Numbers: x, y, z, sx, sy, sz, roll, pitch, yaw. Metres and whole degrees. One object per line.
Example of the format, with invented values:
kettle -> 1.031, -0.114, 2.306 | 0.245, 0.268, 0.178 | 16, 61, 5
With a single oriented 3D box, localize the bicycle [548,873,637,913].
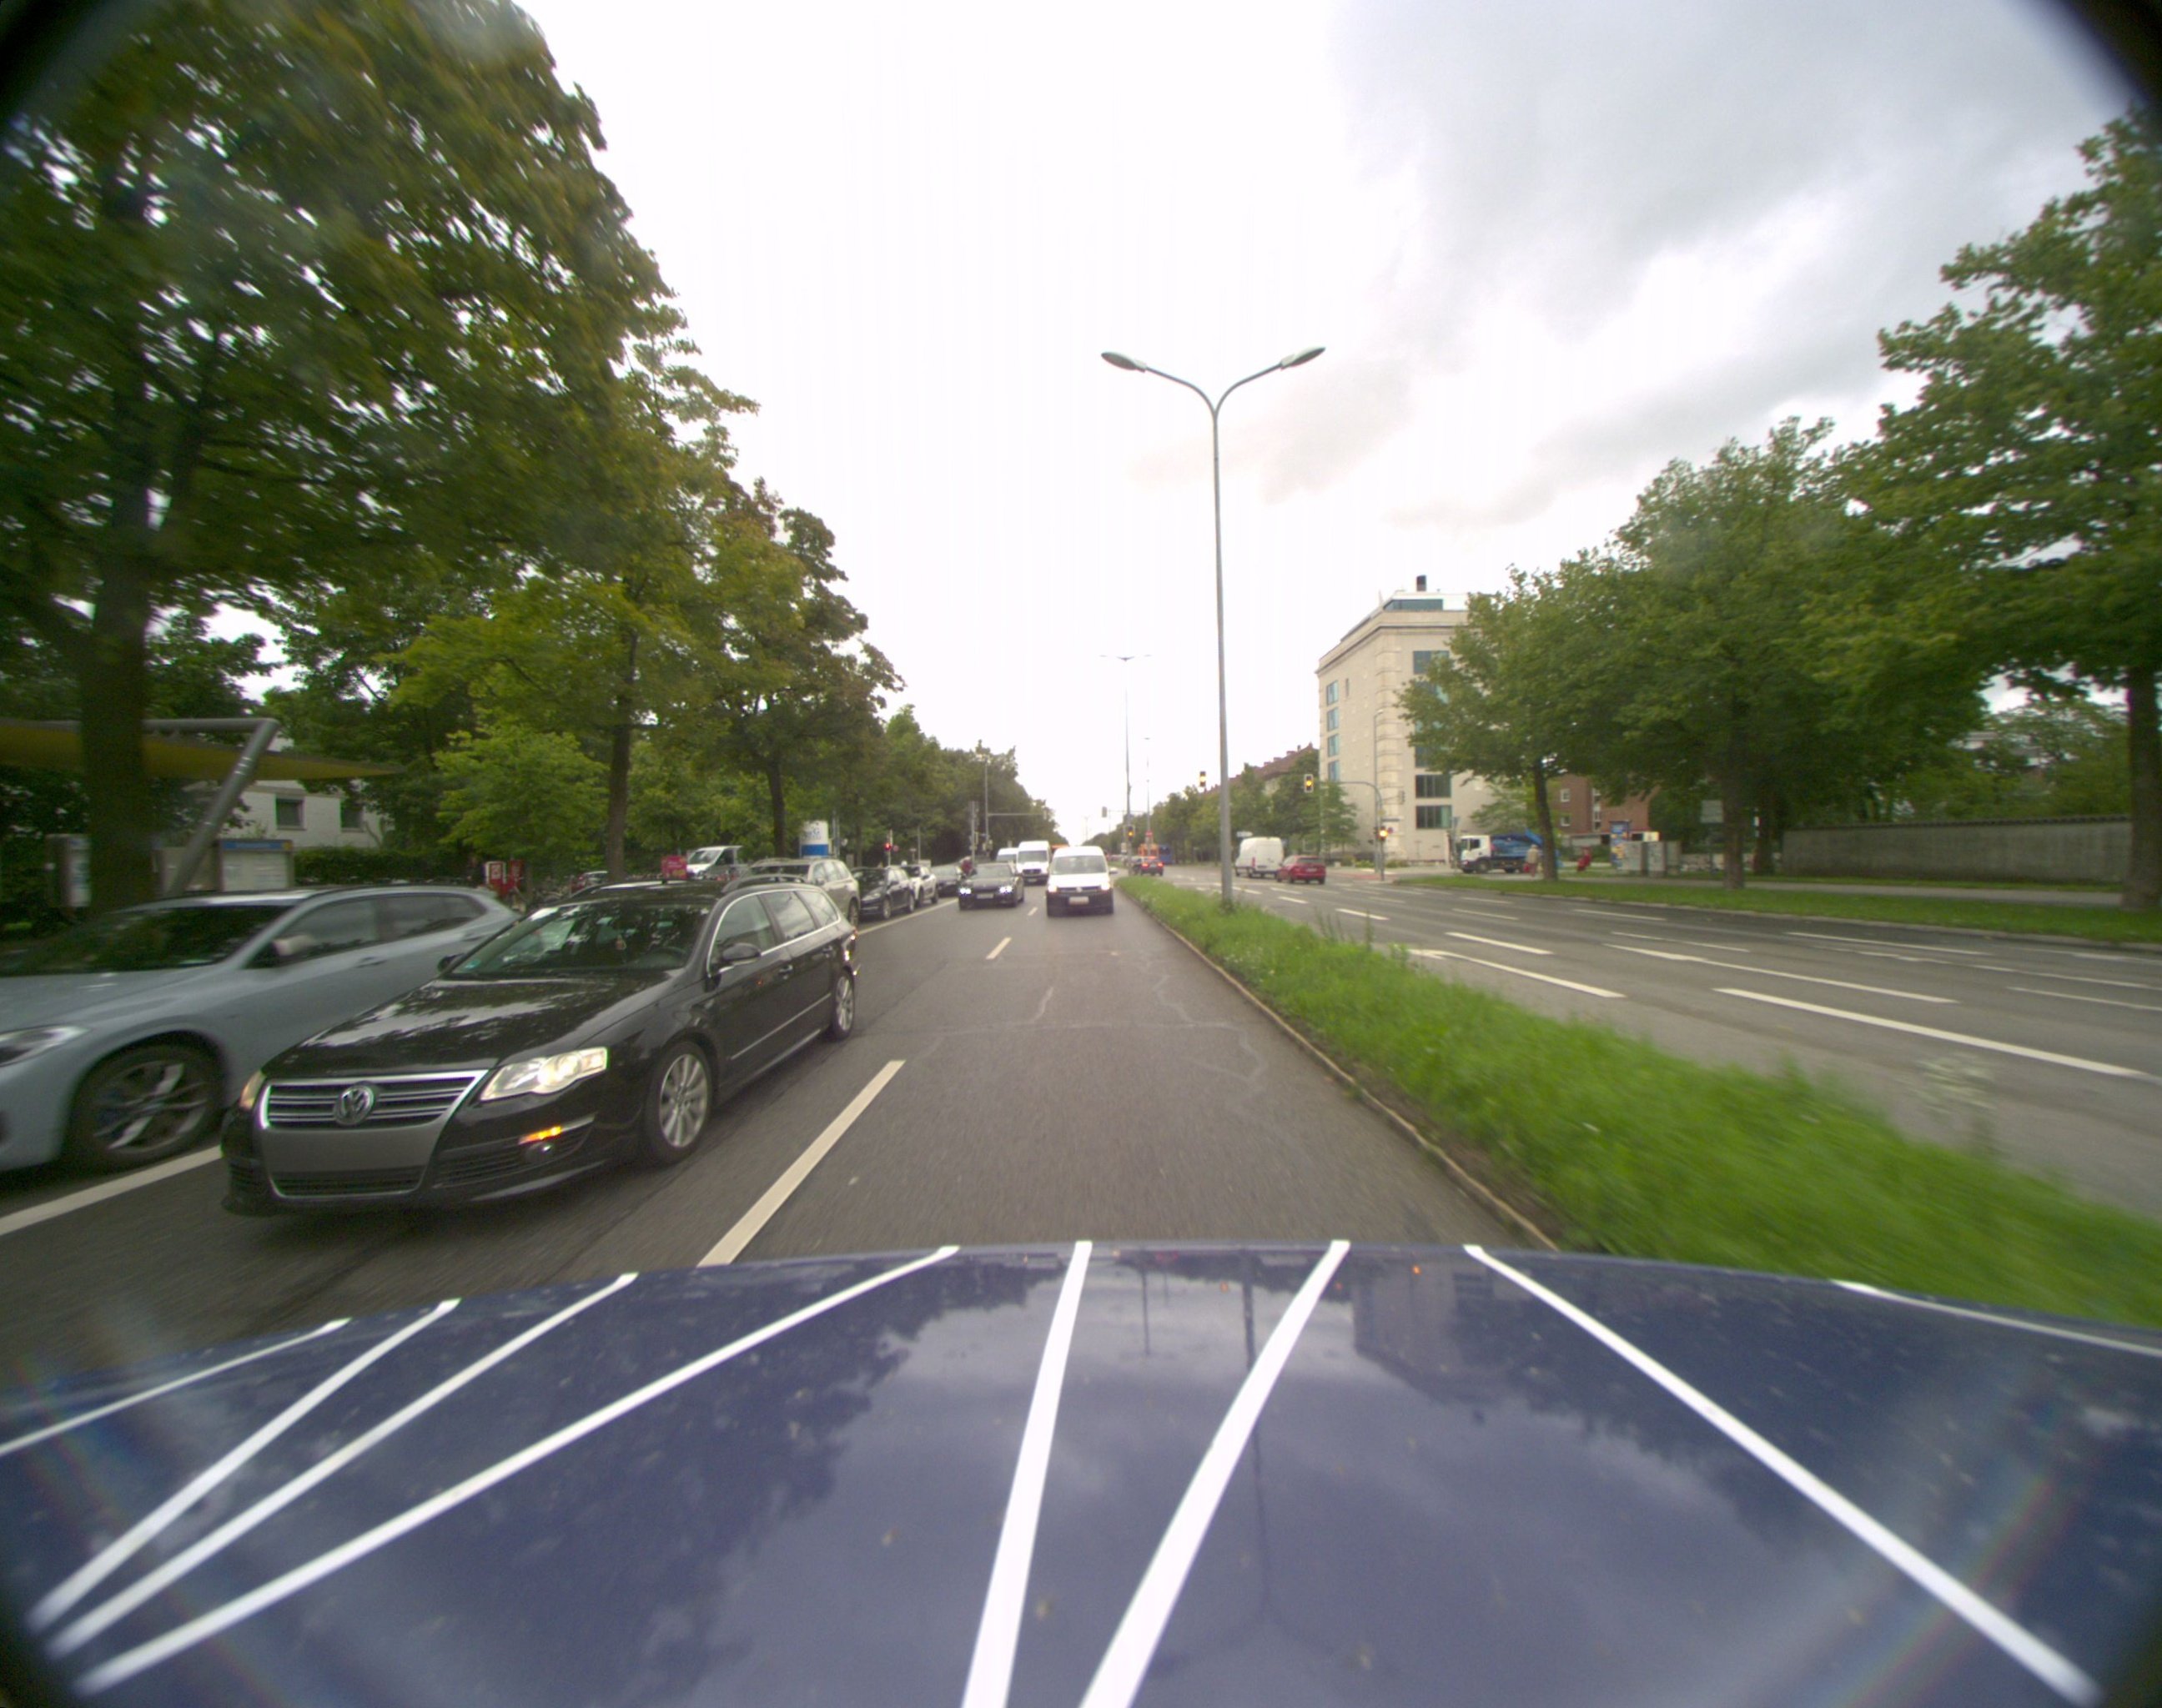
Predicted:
bicycle -> -14.723, 1.178, 22.935 | 2.344, 1.151, 0.529 | 1, 0, 0

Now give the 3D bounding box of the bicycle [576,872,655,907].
bicycle -> -16.109, 1.228, 26.306 | 2.344, 1.151, 0.585 | 1, 0, 0

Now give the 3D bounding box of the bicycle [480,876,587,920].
bicycle -> -14.701, 1.177, 20.439 | 2.346, 1.151, 0.529 | 1, 0, -8

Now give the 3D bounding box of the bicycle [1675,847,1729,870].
bicycle -> 33.715, 0.223, 41.289 | 0.837, 1.179, 2.496 | -1, 0, -1

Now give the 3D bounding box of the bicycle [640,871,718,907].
bicycle -> -13.700, 1.182, 25.907 | 2.344, 1.151, 0.585 | 1, 0, 0

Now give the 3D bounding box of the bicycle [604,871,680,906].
bicycle -> -15.565, 1.219, 26.953 | 2.344, 1.151, 0.585 | 1, 0, 0

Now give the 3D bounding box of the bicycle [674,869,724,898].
bicycle -> -15.800, 1.217, 31.449 | 1.810, 1.136, 0.567 | 0, 1, 6

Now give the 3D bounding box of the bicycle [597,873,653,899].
bicycle -> -21.778, 1.512, 36.340 | 0.716, 1.147, 2.133 | -1, 1, 41

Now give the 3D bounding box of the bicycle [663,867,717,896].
bicycle -> -16.616, 1.160, 32.326 | 1.946, 1.205, 0.567 | 0, 1, -11

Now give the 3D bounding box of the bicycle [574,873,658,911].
bicycle -> -14.693, 1.203, 24.036 | 2.344, 1.151, 0.529 | 1, 0, 0

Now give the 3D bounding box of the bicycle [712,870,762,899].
bicycle -> -13.864, 1.229, 30.611 | 1.809, 1.136, 0.568 | 0, 1, 9

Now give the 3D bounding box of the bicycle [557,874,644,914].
bicycle -> -14.839, 1.230, 23.486 | 2.344, 1.151, 0.529 | 1, 0, 0

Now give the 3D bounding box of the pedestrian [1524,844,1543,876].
pedestrian -> 24.867, 0.320, 41.737 | 0.709, 1.730, 0.517 | -1, 1, -4

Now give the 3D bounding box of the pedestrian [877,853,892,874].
pedestrian -> -14.470, 0.687, 55.953 | 0.691, 1.529, 0.738 | -1, 1, 20

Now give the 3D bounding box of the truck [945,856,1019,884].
truck -> -7.887, 1.272, 61.015 | 2.100, 2.002, 5.824 | -1, 1, 43

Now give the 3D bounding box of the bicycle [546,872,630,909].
bicycle -> -15.954, 1.181, 24.619 | 2.344, 1.151, 0.585 | 1, 0, 0

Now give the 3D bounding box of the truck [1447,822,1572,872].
truck -> 32.243, -0.530, 57.439 | 7.816, 3.468, 2.772 | -1, 1, 2

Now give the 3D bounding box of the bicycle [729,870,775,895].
bicycle -> -14.672, 1.271, 33.908 | 1.812, 1.065, 0.567 | 0, 1, -11

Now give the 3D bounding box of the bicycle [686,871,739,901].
bicycle -> -14.351, 1.246, 29.594 | 1.810, 1.136, 0.567 | 0, 1, 6

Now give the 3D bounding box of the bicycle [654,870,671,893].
bicycle -> -23.555, 1.538, 42.781 | 0.704, 1.243, 2.110 | -2, 0, -26

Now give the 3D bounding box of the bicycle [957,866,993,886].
bicycle -> -6.177, 1.257, 44.310 | 1.951, 1.075, 0.746 | -2, 1, -35

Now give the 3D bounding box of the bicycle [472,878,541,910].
bicycle -> -23.010, 1.583, 30.461 | 2.133, 1.147, 0.716 | -2, 1, -43

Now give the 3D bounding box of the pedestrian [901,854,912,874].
pedestrian -> -14.966, 0.845, 65.125 | 0.762, 1.693, 0.938 | -2, 1, -9

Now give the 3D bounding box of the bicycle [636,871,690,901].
bicycle -> -16.327, 1.239, 29.707 | 1.810, 1.136, 0.567 | 0, 1, 1

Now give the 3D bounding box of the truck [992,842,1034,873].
truck -> -6.024, 0.284, 68.323 | 1.997, 2.589, 7.230 | -2, 1, 8

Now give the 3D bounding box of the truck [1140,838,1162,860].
truck -> 11.017, -0.832, 120.531 | 2.787, 3.336, 7.265 | -1, 0, 0

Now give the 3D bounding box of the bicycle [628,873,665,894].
bicycle -> -25.410, 1.707, 44.473 | 0.609, 1.088, 2.116 | -1, 0, 10

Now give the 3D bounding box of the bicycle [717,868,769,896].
bicycle -> -14.508, 1.199, 32.660 | 1.946, 1.205, 0.567 | 0, 1, -11

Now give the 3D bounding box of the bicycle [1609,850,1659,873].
bicycle -> 29.985, 0.385, 41.258 | 0.837, 1.179, 2.496 | -1, 0, -1

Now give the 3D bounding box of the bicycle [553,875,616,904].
bicycle -> -21.306, 1.501, 32.621 | 2.133, 1.147, 0.716 | -2, 1, -45

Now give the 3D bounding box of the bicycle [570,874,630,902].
bicycle -> -21.568, 1.509, 34.094 | 0.716, 1.147, 2.133 | -1, 1, 41

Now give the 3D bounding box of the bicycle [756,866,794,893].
bicycle -> -14.279, 1.186, 35.513 | 0.863, 1.191, 2.000 | 0, 1, 5

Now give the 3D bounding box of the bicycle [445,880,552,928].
bicycle -> -14.947, 1.282, 19.528 | 2.344, 1.151, 0.529 | 1, 0, 0

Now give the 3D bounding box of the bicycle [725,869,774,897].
bicycle -> -13.984, 1.230, 32.079 | 1.812, 1.136, 0.567 | 0, 1, -11

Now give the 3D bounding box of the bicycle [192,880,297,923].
bicycle -> -23.427, 1.322, 21.292 | 2.344, 1.151, 0.529 | 1, 0, 0

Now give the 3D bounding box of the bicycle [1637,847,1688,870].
bicycle -> 31.550, 0.215, 41.267 | 0.837, 1.179, 2.496 | -1, 0, -1
